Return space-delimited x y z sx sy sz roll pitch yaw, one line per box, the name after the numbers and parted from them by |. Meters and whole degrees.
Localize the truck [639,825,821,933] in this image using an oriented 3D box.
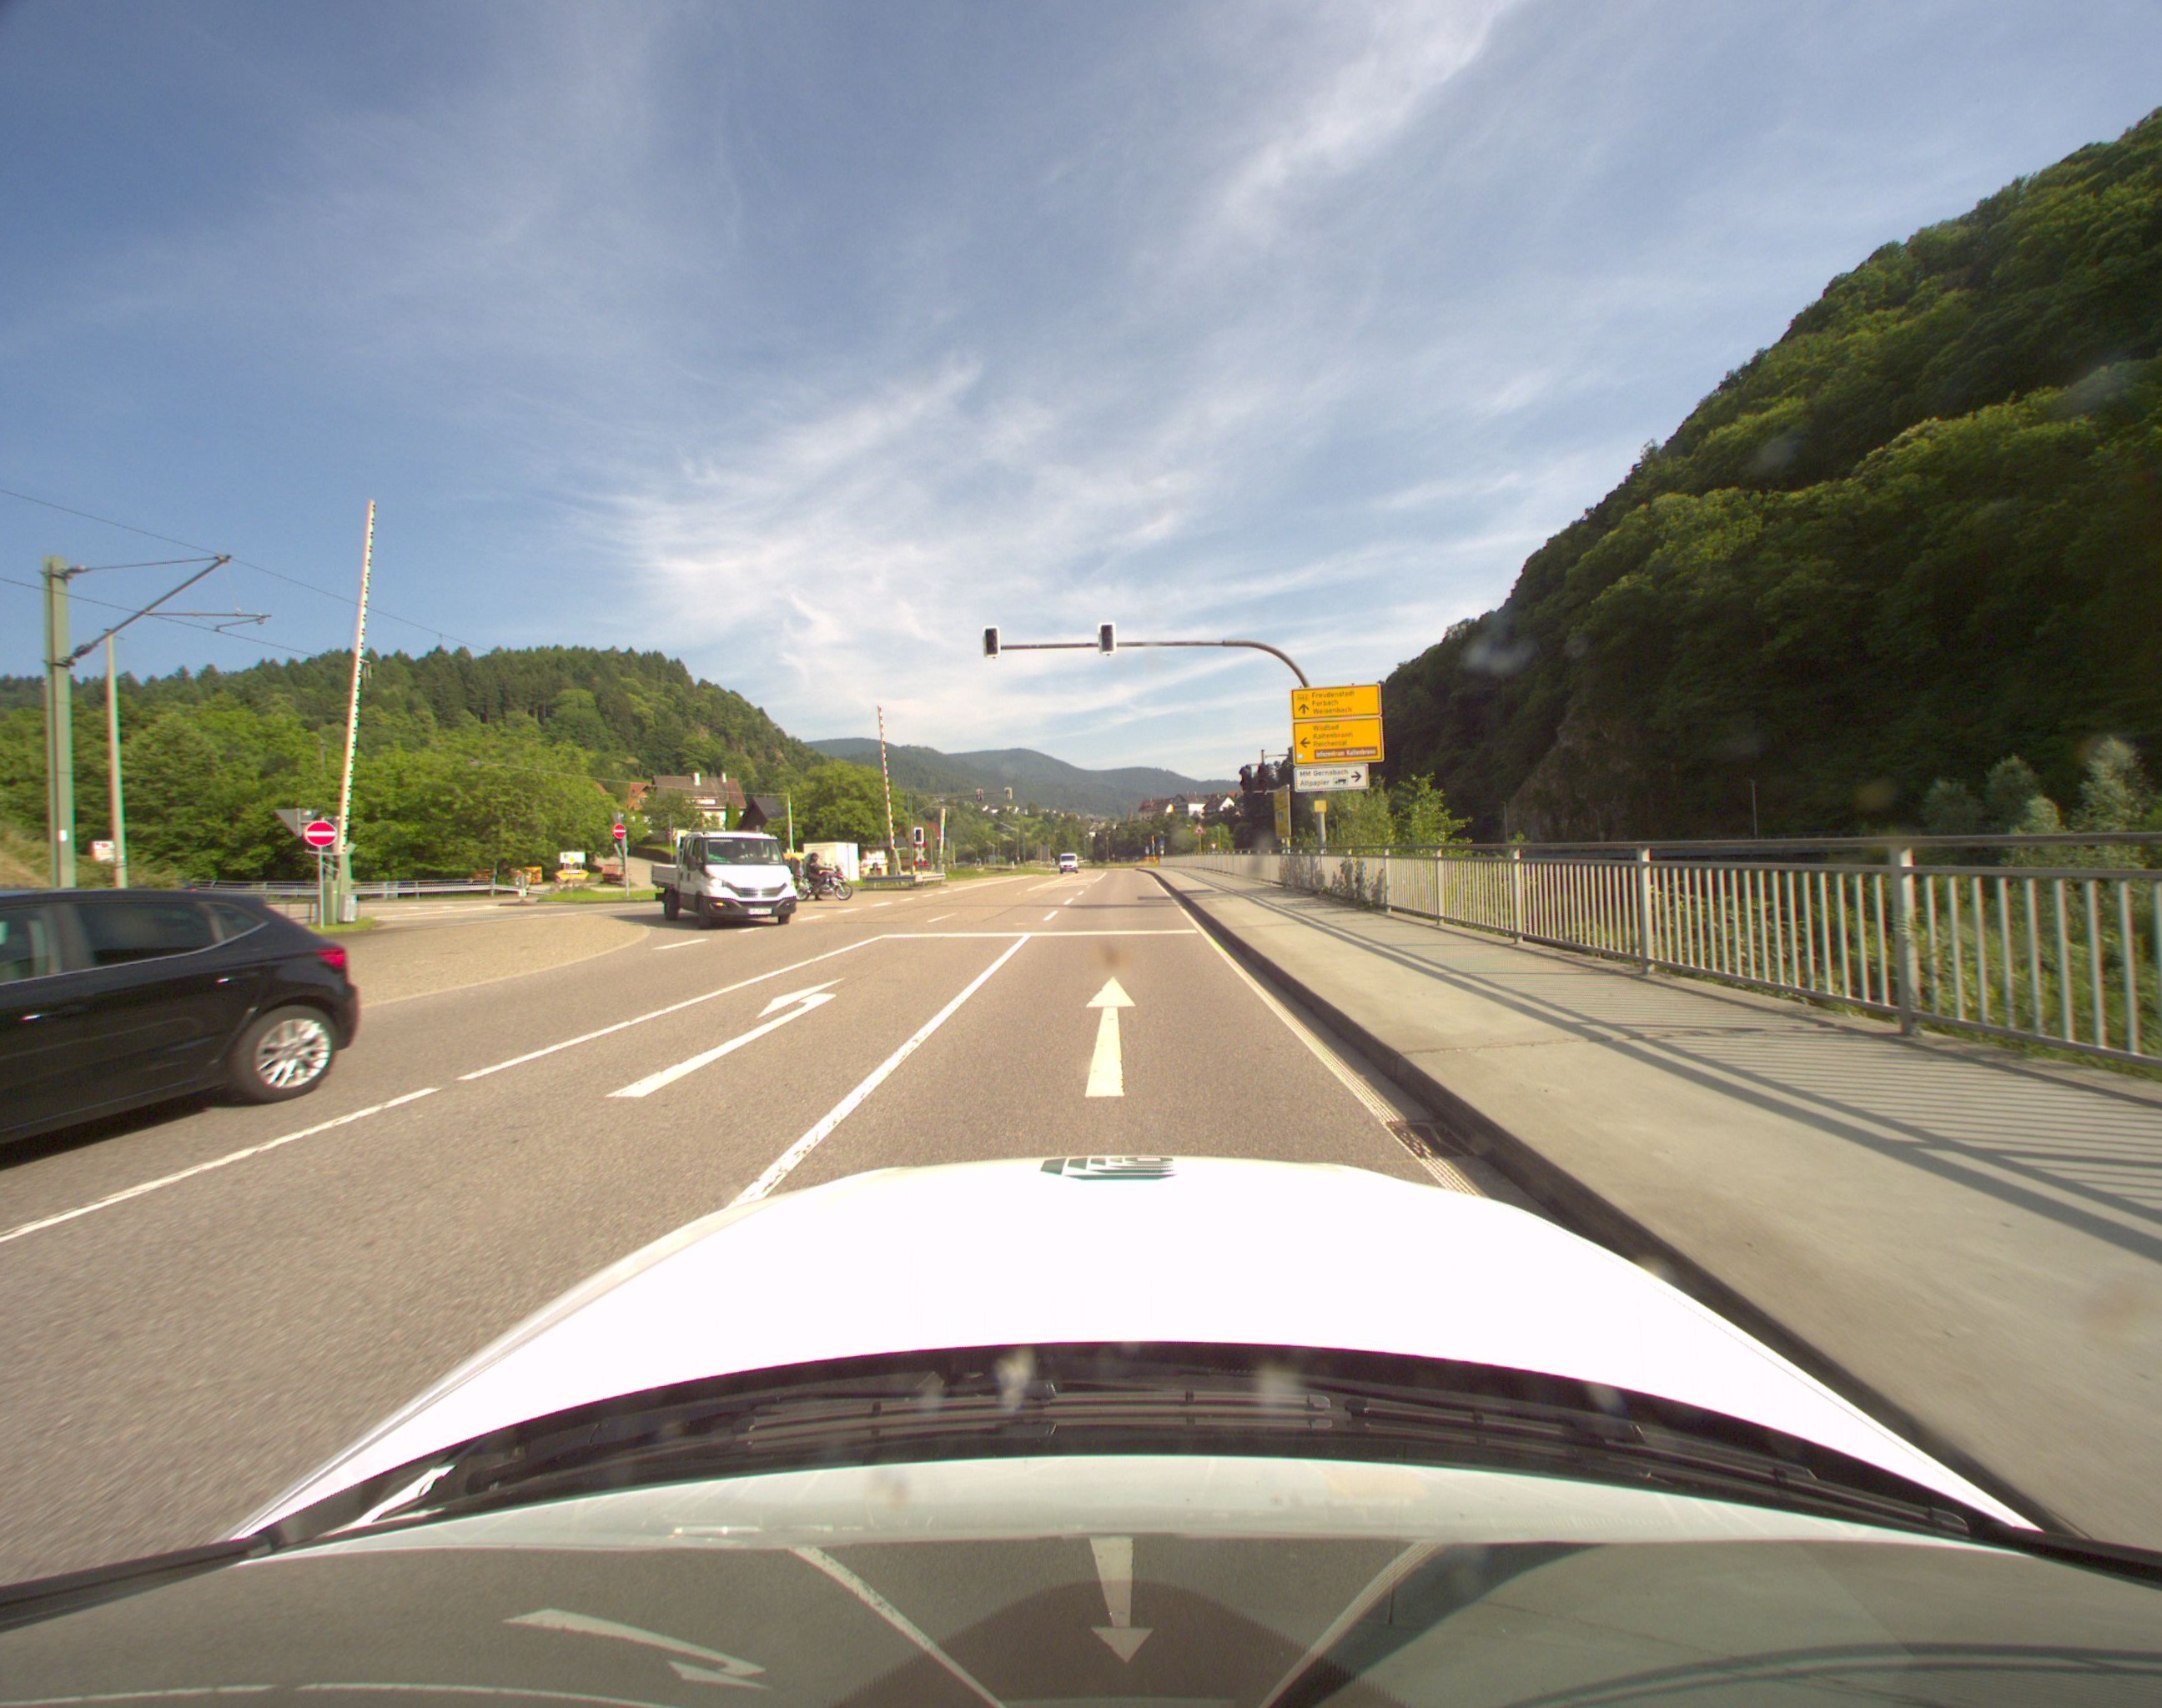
-8.878 0.550 20.195 2.467 2.266 6.207 -1 0 -40 | truck

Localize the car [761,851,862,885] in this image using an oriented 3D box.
-21.406 1.061 64.861 7.017 2.457 2.958 -2 0 11 | car

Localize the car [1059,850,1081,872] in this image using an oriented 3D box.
-1.254 0.836 94.344 2.110 2.436 5.232 -1 0 3 | car

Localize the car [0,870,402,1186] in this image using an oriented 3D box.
-6.043 0.871 4.158 1.680 1.486 4.002 -1 0 2 | car

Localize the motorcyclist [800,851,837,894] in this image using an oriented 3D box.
-9.666 0.679 30.014 1.183 1.544 0.988 0 -1 -12 | motorcyclist

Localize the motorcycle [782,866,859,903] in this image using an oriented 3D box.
-9.581 1.108 30.021 2.587 1.268 1.001 -1 -1 -12 | motorcycle
